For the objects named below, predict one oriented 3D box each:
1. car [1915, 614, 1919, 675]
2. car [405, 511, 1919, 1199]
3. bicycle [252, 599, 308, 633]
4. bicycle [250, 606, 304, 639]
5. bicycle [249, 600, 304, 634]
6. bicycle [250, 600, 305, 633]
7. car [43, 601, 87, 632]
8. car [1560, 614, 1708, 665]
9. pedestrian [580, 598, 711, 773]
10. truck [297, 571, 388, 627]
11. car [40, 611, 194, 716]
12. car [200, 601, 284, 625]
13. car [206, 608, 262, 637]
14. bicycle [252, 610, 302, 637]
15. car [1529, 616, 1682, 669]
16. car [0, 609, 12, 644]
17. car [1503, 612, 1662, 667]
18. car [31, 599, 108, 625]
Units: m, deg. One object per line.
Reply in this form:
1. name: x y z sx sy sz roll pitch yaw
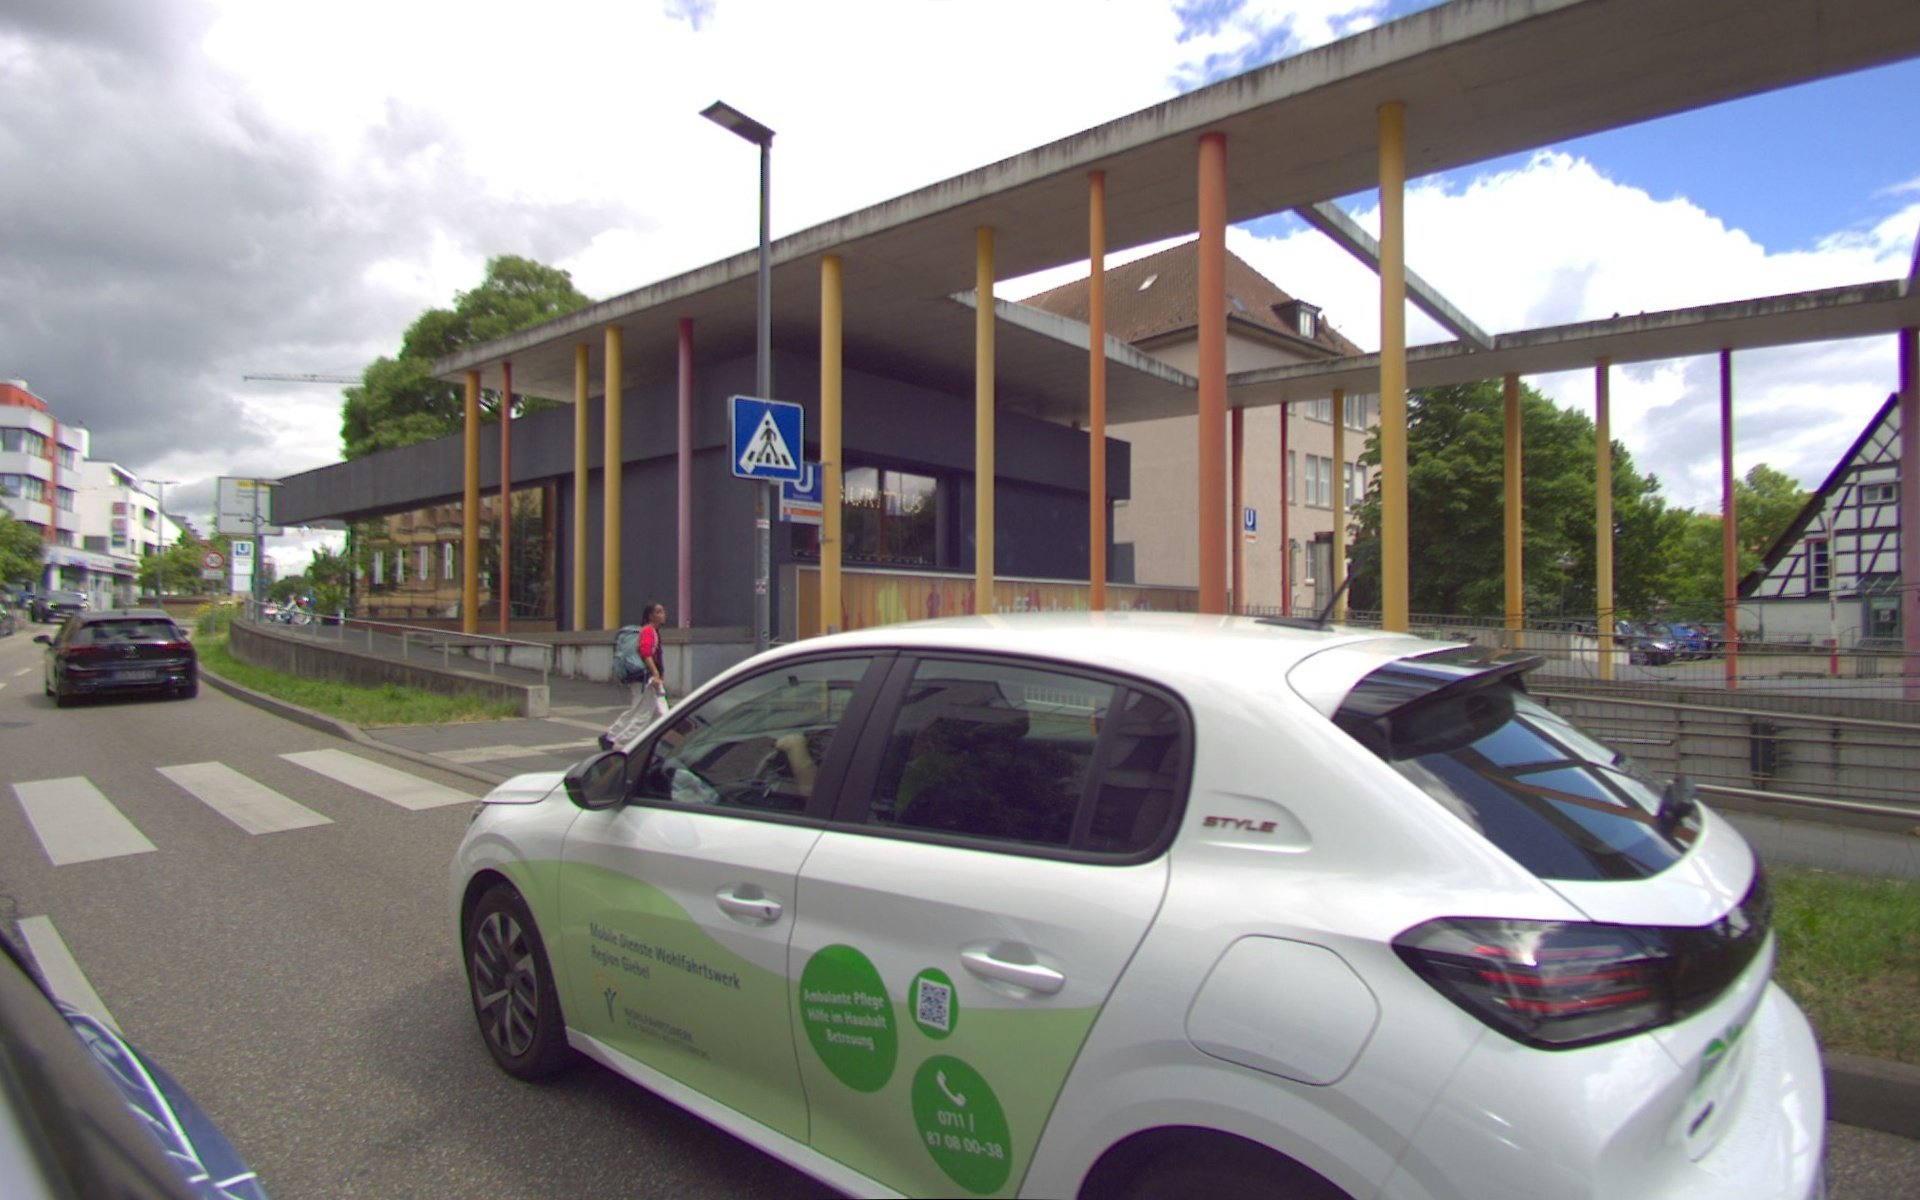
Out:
1. car: 26.986 1.194 25.296 1.884 1.586 4.277 0 1 -37
2. car: 0.186 0.680 2.820 3.905 1.480 1.793 -1 -1 41
3. bicycle: -22.800 0.542 33.933 1.526 1.136 0.535 2 -2 -36
4. bicycle: -24.221 0.809 35.899 1.526 1.136 0.535 2 -2 -36
5. bicycle: -23.443 0.584 34.710 1.526 1.136 0.535 2 -2 -36
6. bicycle: -23.815 0.582 35.324 1.526 1.136 0.535 2 -2 -36
7. car: -50.919 0.906 57.626 1.777 1.592 4.007 0 1 -40
8. car: 23.995 1.415 36.123 1.875 1.682 4.005 0 -2 -42
9. pedestrian: -3.037 0.771 9.800 0.814 1.577 0.918 1 1 38
10. truck: -45.794 -0.142 75.467 2.638 3.871 10.878 0 1 -14
11. car: -13.839 0.938 16.613 1.750 1.475 4.240 0 -1 -41
12. car: -45.528 0.809 64.209 1.815 1.409 4.000 1 1 39
13. car: -42.381 1.289 59.155 1.797 1.596 4.179 3 -2 -24
14. bicycle: -28.607 1.002 42.383 1.665 1.090 0.516 2 -3 -41
15. car: 22.017 1.436 34.610 1.875 1.682 4.005 0 -2 -42
16. car: -40.984 1.094 41.869 1.967 1.424 4.747 2 -1 -36
17. car: 20.221 1.281 32.976 1.875 1.682 4.005 0 -2 -42
18. car: -61.726 0.801 70.213 1.819 1.675 3.998 0 1 1
